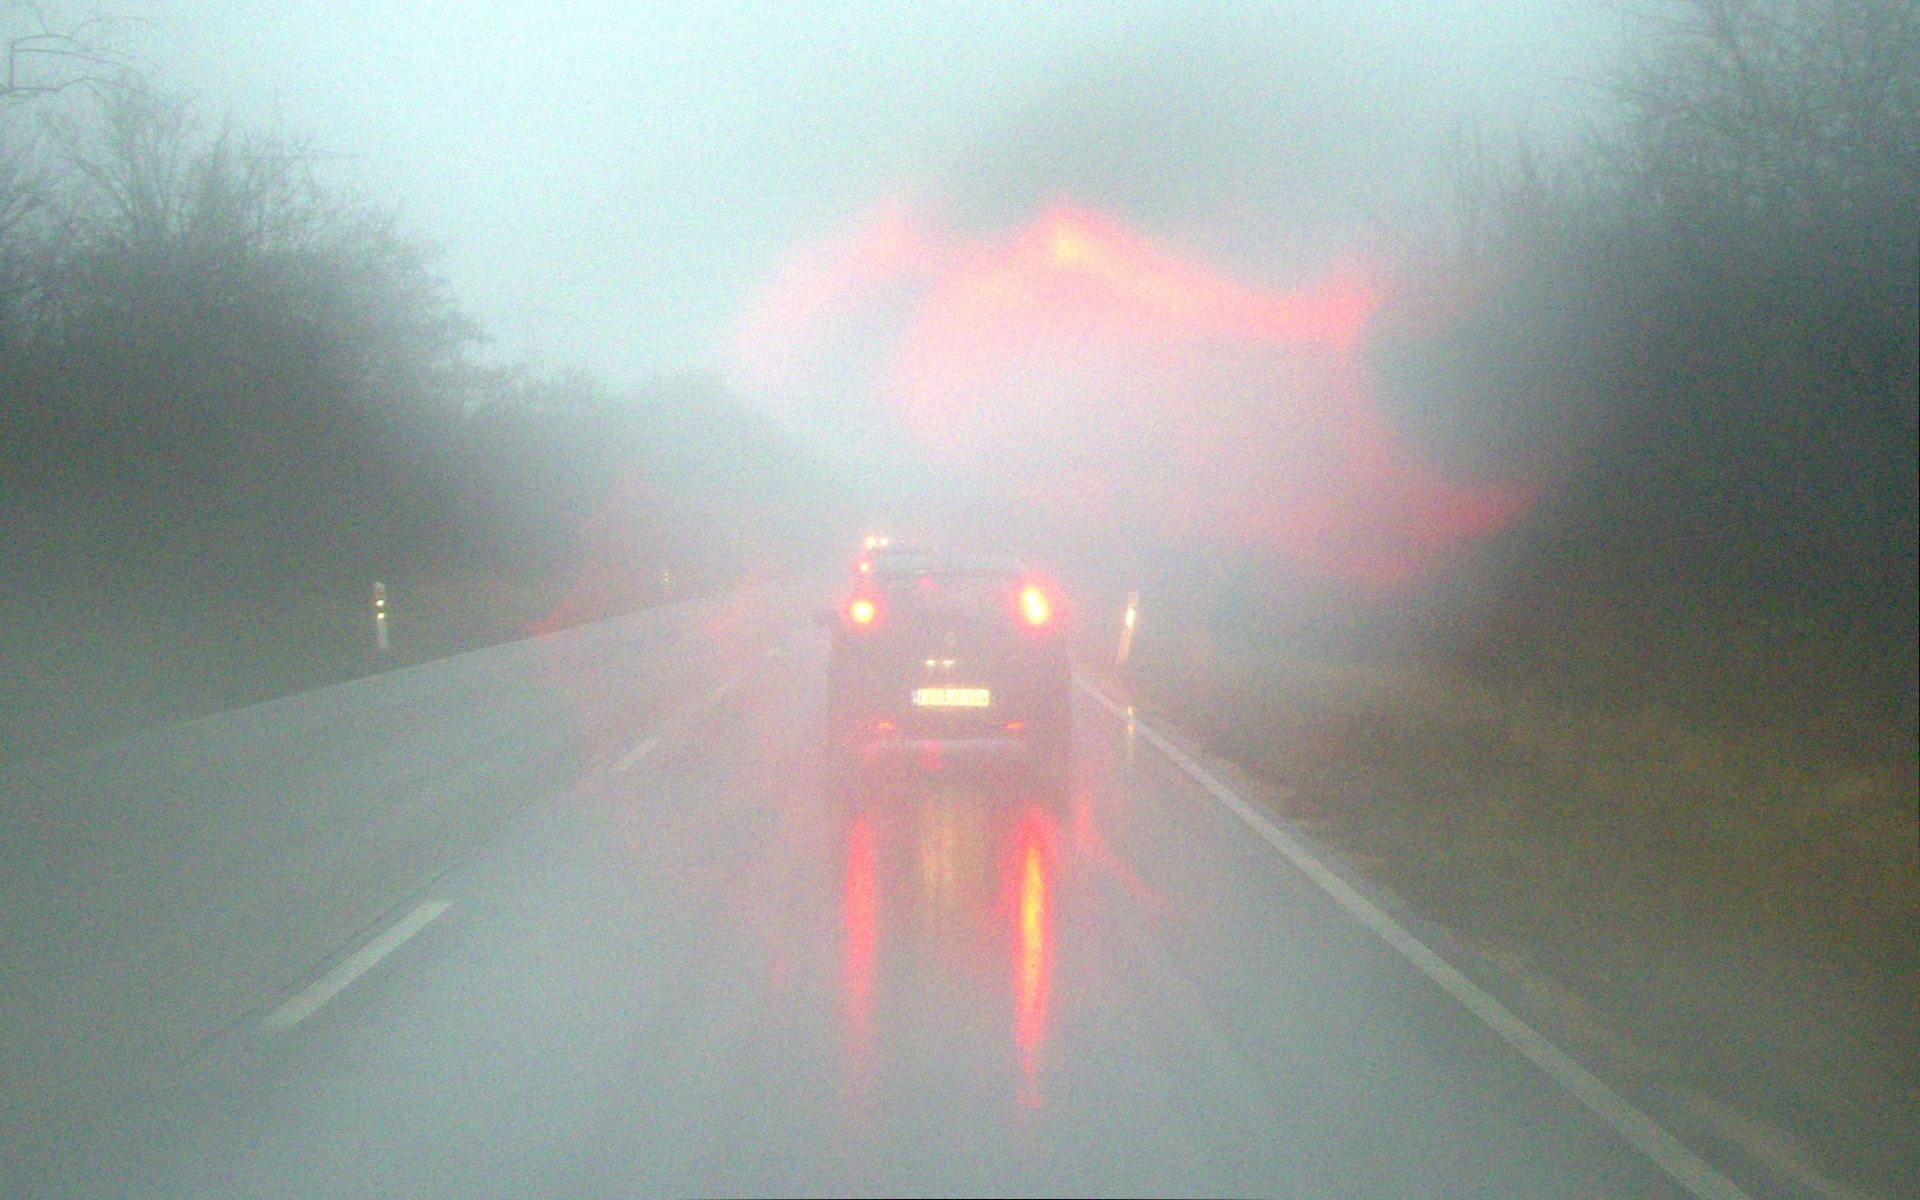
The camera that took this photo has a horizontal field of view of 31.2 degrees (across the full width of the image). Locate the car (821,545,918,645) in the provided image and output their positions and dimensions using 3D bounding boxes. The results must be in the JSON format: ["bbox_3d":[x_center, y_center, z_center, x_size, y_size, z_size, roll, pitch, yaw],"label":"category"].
[{"bbox_3d":[-1.671,-0.116,64.242,1.733,1.773,4.000,1,1,-1],"label":"car"}]

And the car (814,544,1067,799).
[{"bbox_3d":[-0.154,0.451,24.524,1.648,1.666,3.514,1,1,-1],"label":"car"}]
